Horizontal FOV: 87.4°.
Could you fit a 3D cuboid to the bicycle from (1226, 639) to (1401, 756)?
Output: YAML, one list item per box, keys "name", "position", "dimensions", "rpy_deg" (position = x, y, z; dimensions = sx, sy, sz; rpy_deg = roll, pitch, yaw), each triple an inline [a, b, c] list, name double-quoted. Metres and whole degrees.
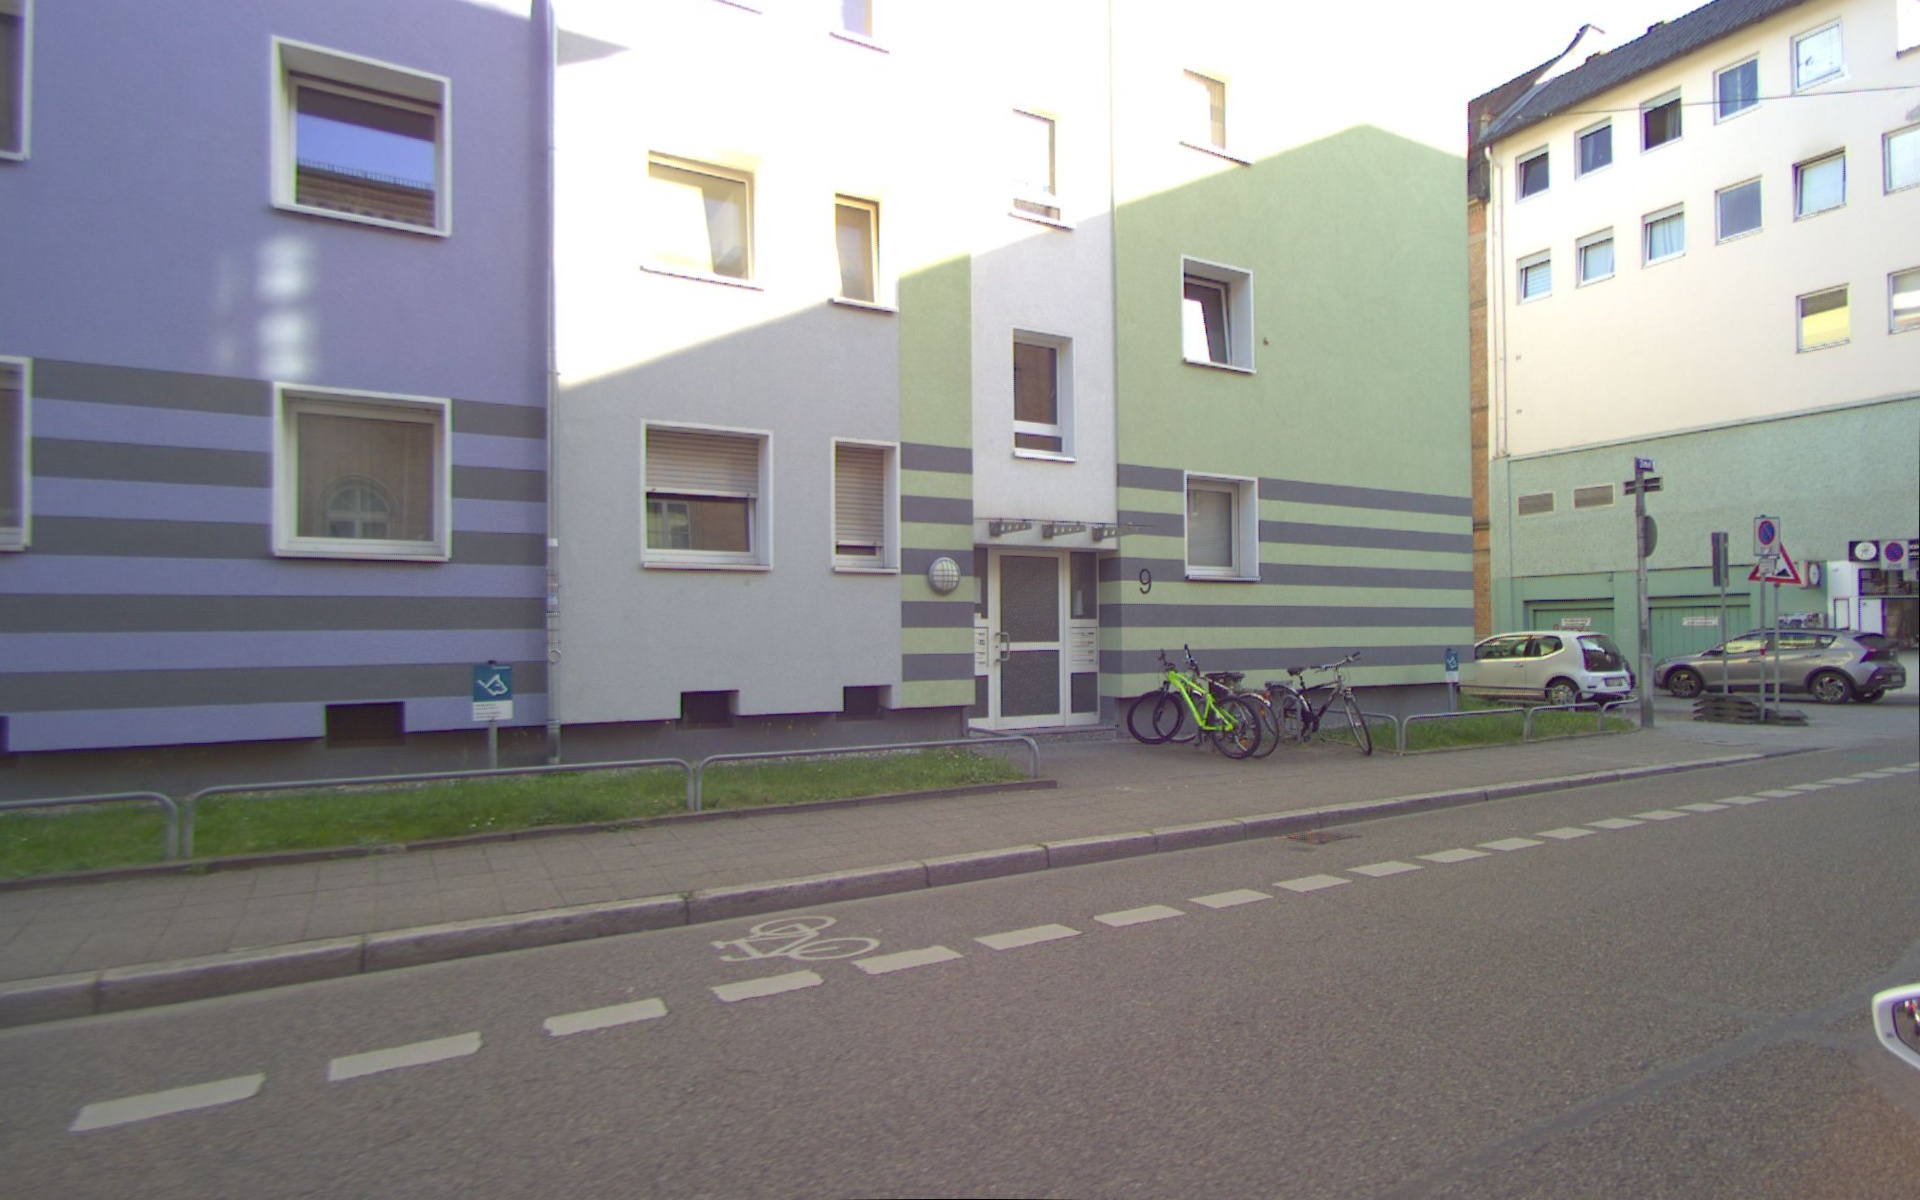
- name: "bicycle"
  position: [4.166, 1.108, 11.978]
  dimensions: [0.608, 1.195, 1.914]
  rpy_deg: [1, 1, -38]

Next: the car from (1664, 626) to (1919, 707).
- name: "car"
  position: [17.331, 1.317, 20.789]
  dimensions: [1.923, 1.462, 4.083]
  rpy_deg: [0, -2, -28]

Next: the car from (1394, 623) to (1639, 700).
- name: "car"
  position: [12.514, 1.329, 22.956]
  dimensions: [1.974, 1.562, 4.598]
  rpy_deg: [0, -2, -27]

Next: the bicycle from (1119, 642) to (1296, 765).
- name: "bicycle"
  position: [2.784, 1.129, 11.473]
  dimensions: [0.609, 1.195, 1.909]
  rpy_deg: [1, 1, -45]

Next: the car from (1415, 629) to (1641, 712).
- name: "car"
  position: [11.159, 1.345, 19.954]
  dimensions: [1.791, 1.462, 3.487]
  rpy_deg: [0, -2, -28]
